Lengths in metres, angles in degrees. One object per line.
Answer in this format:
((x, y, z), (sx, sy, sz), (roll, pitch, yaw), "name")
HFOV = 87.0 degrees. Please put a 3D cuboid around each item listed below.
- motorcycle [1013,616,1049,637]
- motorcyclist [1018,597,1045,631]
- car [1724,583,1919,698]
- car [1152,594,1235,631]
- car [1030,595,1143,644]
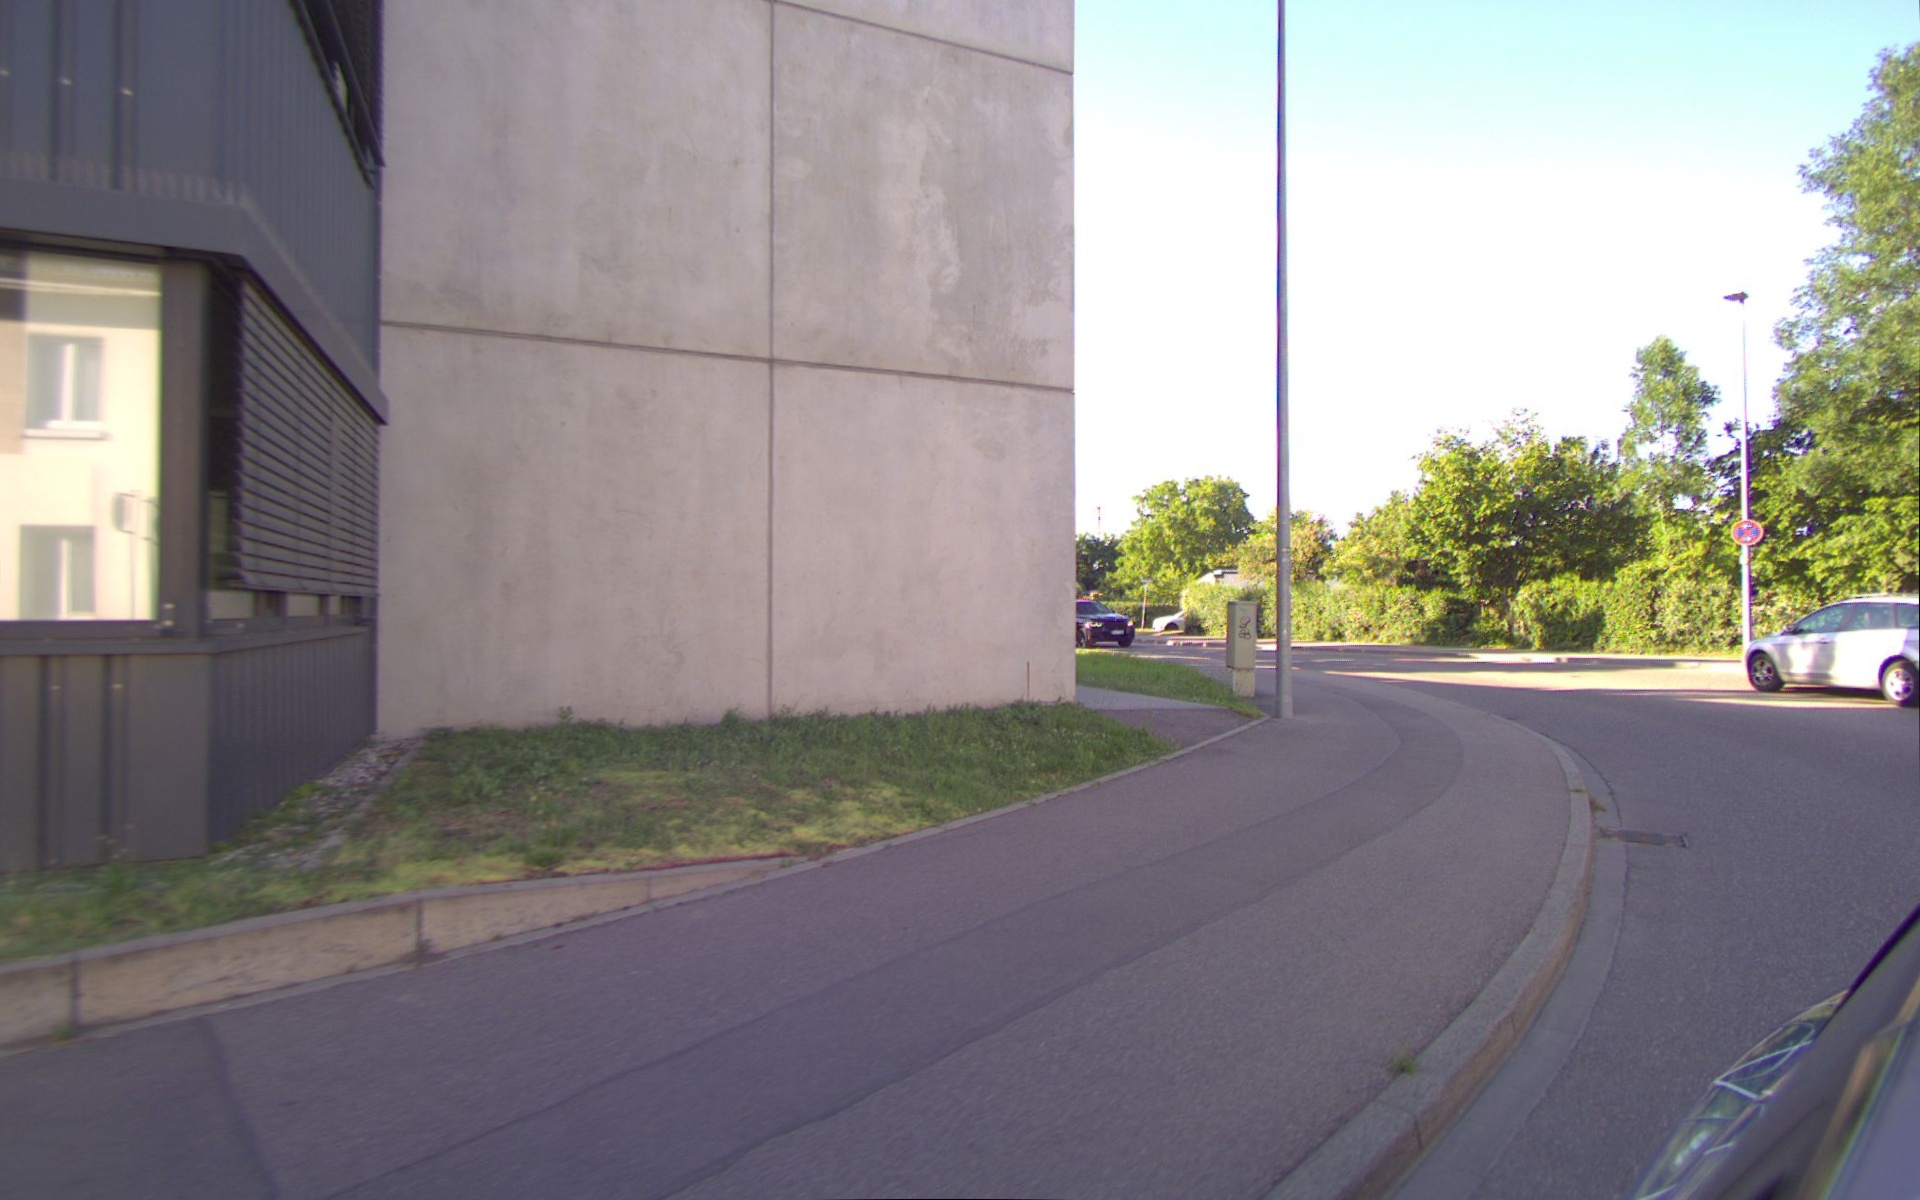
((3.498, 1.286, 49.869), (0.818, 0.984, 2.304), (0, 0, -22), "motorcycle")
((3.502, 0.676, 49.853), (0.848, 1.632, 1.244), (0, -1, -22), "motorcyclist")
((13.703, 0.526, 14.812), (1.712, 1.524, 4.498), (-1, 0, 3), "car")
((11.765, 0.633, 51.201), (3.934, 1.805, 1.995), (-1, 0, 9), "car")
((4.551, 0.685, 37.181), (1.996, 1.653, 4.621), (-1, 0, -25), "car")
